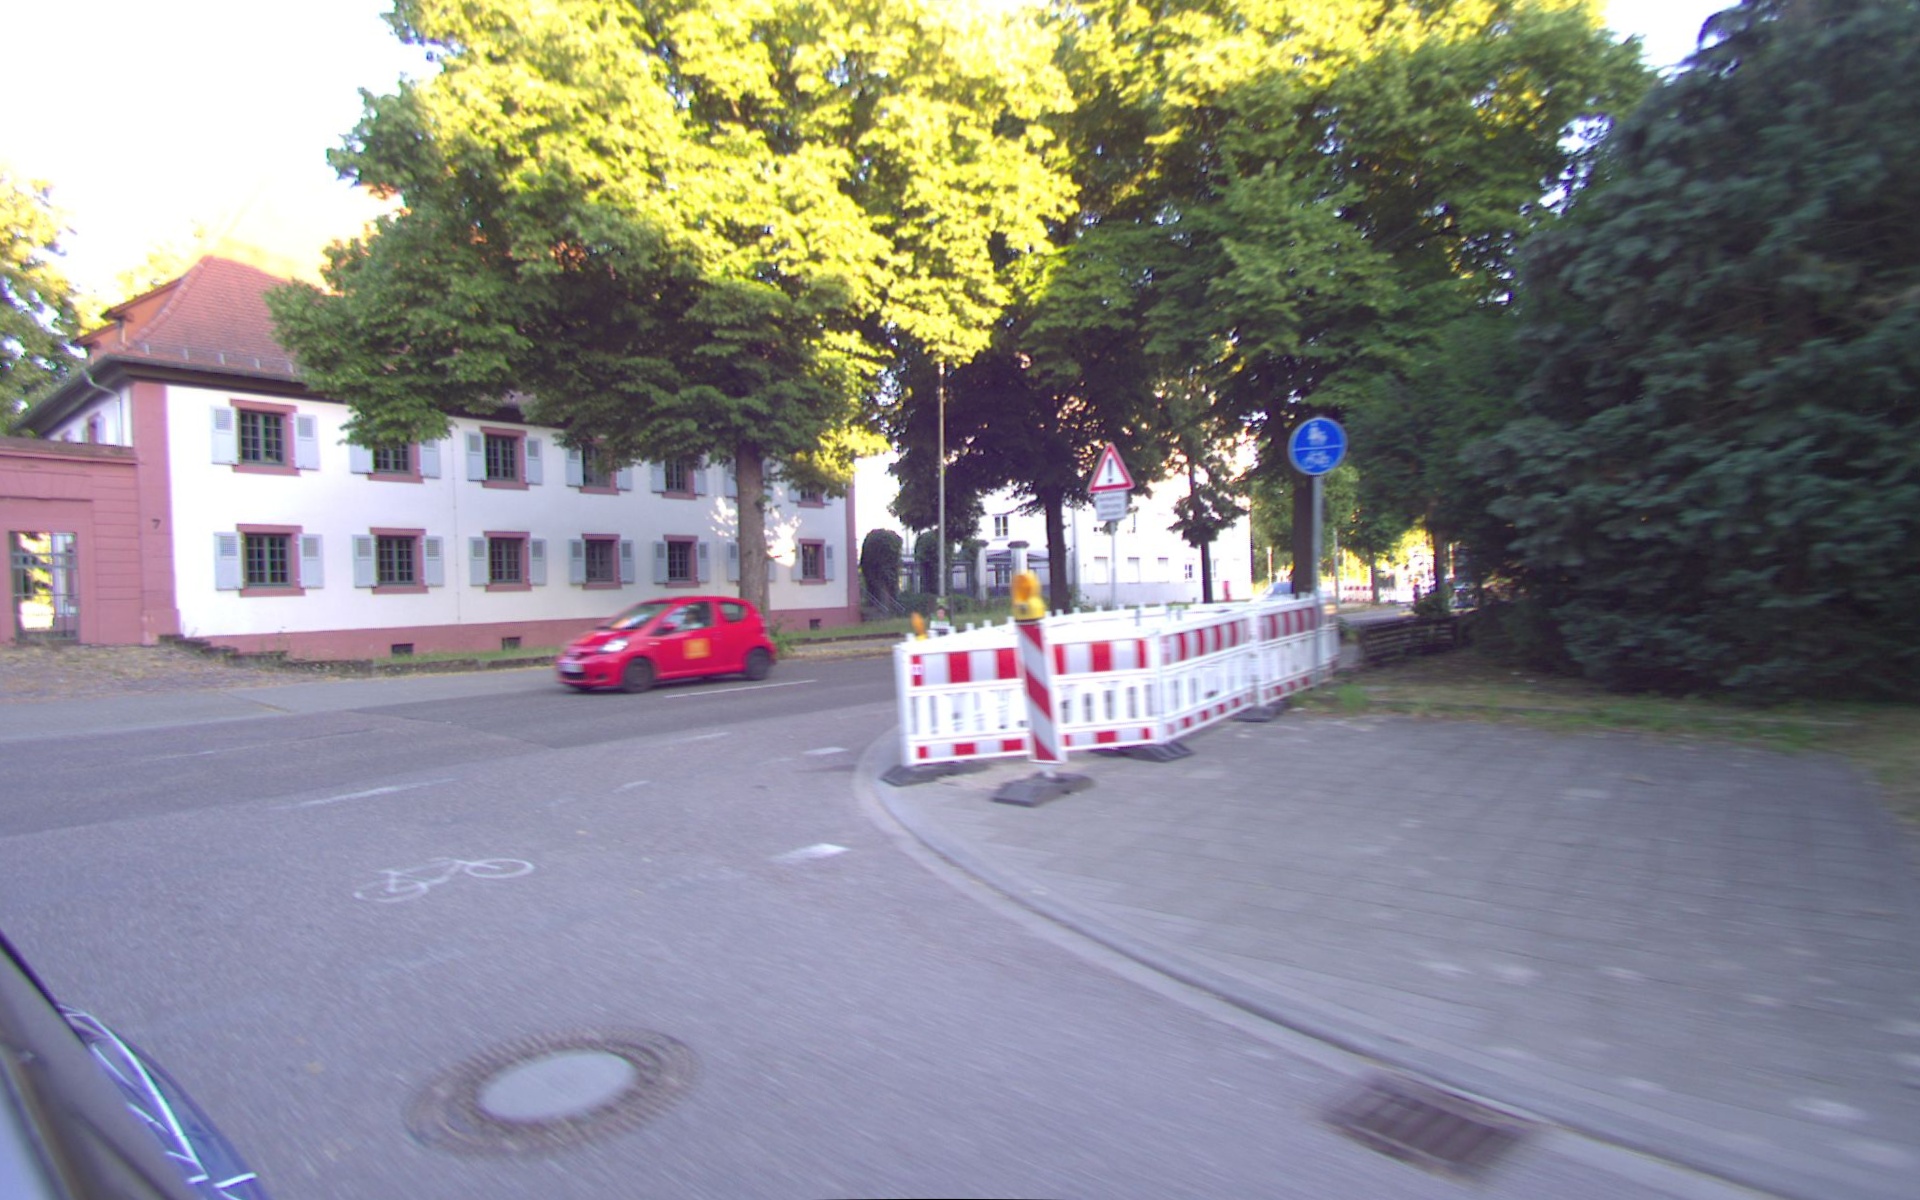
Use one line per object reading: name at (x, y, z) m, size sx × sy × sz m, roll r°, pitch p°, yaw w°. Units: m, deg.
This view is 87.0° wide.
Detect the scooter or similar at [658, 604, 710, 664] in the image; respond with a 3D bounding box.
scooter or similar at (-6.190, 0.751, 22.757) m, size 0.239 × 1.285 × 1.252 m, roll -2°, pitch 1°, yaw 33°

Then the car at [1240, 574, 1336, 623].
car at (12.192, -0.073, 37.458) m, size 1.790 × 1.568 × 4.350 m, roll -3°, pitch 0°, yaw 41°

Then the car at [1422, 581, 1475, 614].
car at (26.785, -0.162, 55.415) m, size 1.788 × 1.568 × 4.356 m, roll -3°, pitch 0°, yaw 37°

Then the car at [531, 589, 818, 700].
car at (-4.458, 0.640, 16.441) m, size 1.617 × 1.423 × 4.356 m, roll -3°, pitch 0°, yaw 37°
